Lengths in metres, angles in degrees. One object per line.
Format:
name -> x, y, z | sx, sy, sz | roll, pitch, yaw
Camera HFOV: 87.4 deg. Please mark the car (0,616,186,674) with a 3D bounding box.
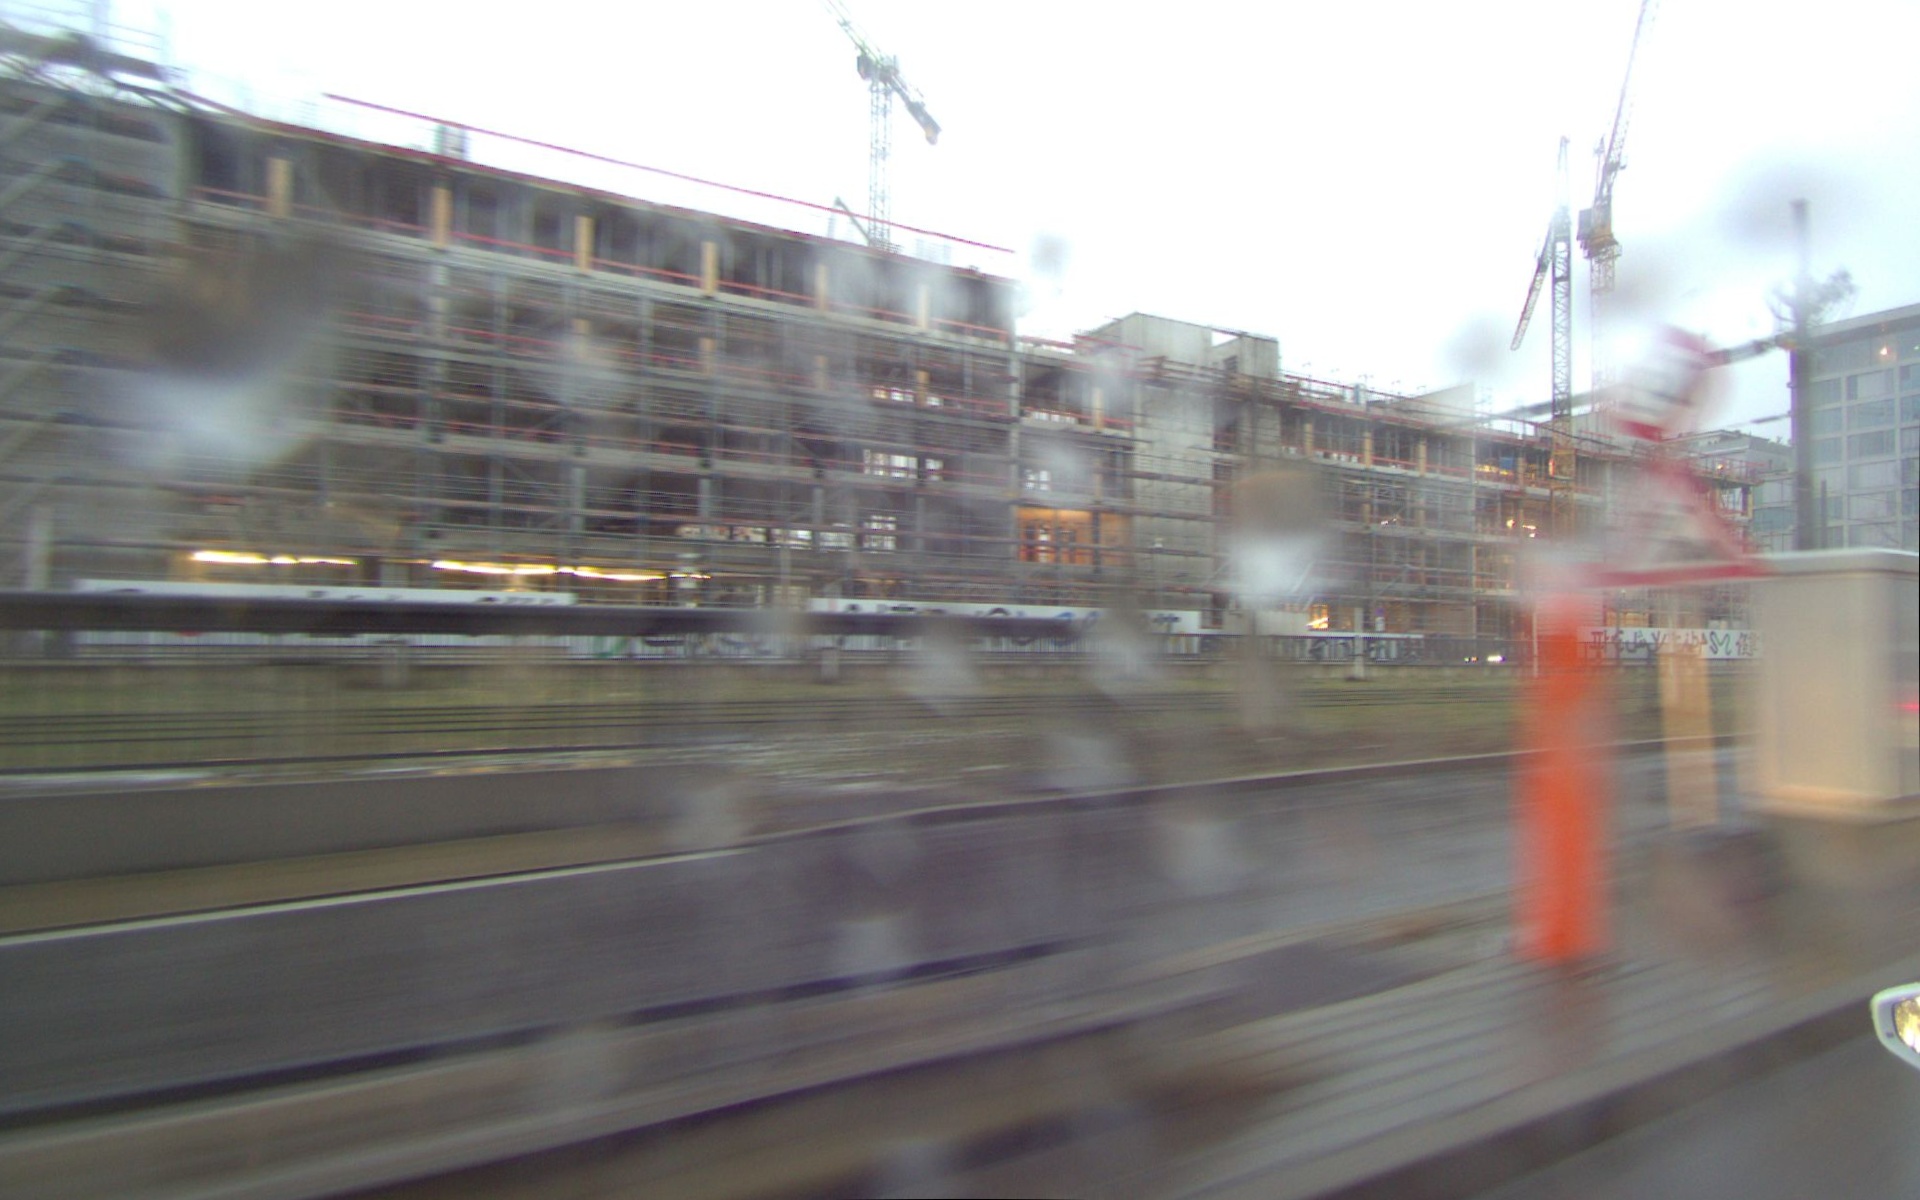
car -> -23.193, 1.156, 26.361 | 4.285, 1.433, 1.676 | 1, -1, -28
